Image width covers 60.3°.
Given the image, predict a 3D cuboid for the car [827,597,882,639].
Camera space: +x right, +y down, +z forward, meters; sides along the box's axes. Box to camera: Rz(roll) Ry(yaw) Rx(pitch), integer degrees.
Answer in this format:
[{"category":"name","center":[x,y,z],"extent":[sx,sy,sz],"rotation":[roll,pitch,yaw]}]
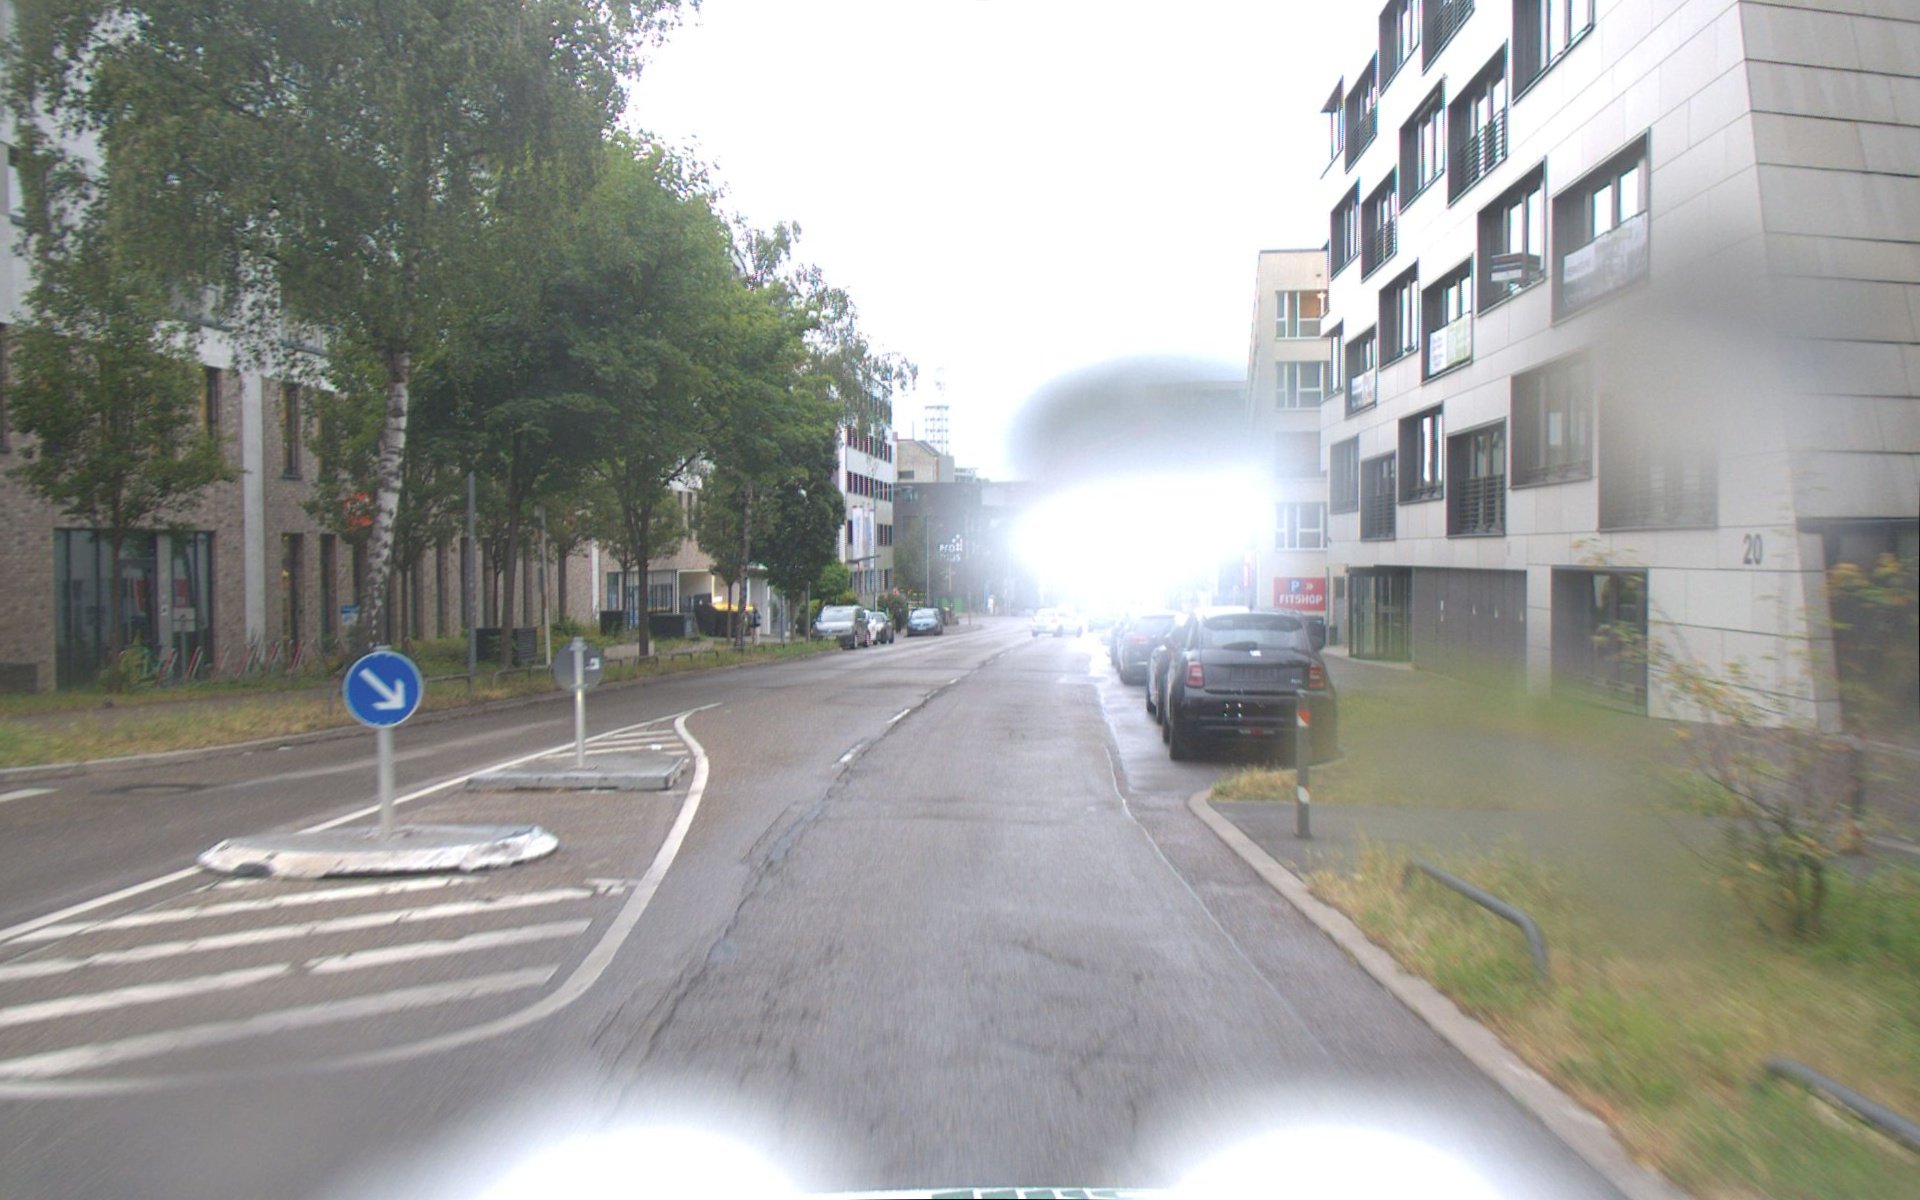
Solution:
[{"category":"car","center":[-4.424,0.724,69.886],"extent":[1.736,1.628,4.034],"rotation":[1,1,4]}]

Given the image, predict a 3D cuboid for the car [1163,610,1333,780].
[{"category":"car","center":[3.020,0.932,17.916],"extent":[1.513,1.504,3.663],"rotation":[1,2,5]}]

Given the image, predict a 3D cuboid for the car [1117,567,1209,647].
[{"category":"car","center":[4.371,0.122,36.194],"extent":[1.769,1.591,4.849],"rotation":[1,0,4]}]

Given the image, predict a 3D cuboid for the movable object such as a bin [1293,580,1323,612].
[{"category":"movable object such as a bin","center":[15.801,-0.198,75.172],"extent":[1.234,1.427,1.113],"rotation":[1,1,7]}]

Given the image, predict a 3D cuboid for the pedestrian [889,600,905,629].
[{"category":"pedestrian","center":[-3.770,0.869,99.534],"extent":[0.718,1.738,0.897],"rotation":[0,0,-22]}]

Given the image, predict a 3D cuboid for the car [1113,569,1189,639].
[{"category":"car","center":[4.733,0.087,41.416],"extent":[1.712,1.633,4.376],"rotation":[1,0,4]}]

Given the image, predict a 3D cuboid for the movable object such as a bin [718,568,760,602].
[{"category":"movable object such as a bin","center":[-10.503,-0.710,78.681],"extent":[1.758,1.536,1.482],"rotation":[-1,1,1]}]

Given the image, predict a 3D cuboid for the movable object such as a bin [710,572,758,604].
[{"category":"movable object such as a bin","center":[-10.537,-0.580,77.189],"extent":[2.011,1.448,1.317],"rotation":[1,1,1]}]

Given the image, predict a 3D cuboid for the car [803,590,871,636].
[{"category":"car","center":[-4.756,0.472,64.483],"extent":[2.034,1.637,4.688],"rotation":[-1,1,3]}]

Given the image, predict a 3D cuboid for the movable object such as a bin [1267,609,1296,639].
[{"category":"movable object such as a bin","center":[14.472,1.069,74.419],"extent":[1.208,1.343,1.192],"rotation":[0,0,7]}]

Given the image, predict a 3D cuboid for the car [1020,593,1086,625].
[{"category":"car","center":[5.041,0.464,89.359],"extent":[1.957,1.604,3.987],"rotation":[1,2,31]}]

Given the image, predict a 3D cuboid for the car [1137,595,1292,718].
[{"category":"car","center":[3.456,0.705,23.149],"extent":[1.769,1.510,4.498],"rotation":[1,0,4]}]

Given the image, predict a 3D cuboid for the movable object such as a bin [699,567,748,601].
[{"category":"movable object such as a bin","center":[-10.830,-0.732,75.834],"extent":[1.985,1.454,1.290],"rotation":[2,1,1]}]

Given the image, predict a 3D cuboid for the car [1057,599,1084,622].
[{"category":"car","center":[9.018,0.830,134.880],"extent":[2.096,1.758,4.002],"rotation":[1,0,4]}]

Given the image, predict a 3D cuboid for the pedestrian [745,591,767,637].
[{"category":"pedestrian","center":[-7.726,0.515,62.784],"extent":[0.694,1.712,0.957],"rotation":[0,1,0]}]

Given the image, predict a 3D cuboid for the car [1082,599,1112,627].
[{"category":"car","center":[9.101,0.854,110.153],"extent":[1.951,1.780,3.675],"rotation":[1,1,5]}]
